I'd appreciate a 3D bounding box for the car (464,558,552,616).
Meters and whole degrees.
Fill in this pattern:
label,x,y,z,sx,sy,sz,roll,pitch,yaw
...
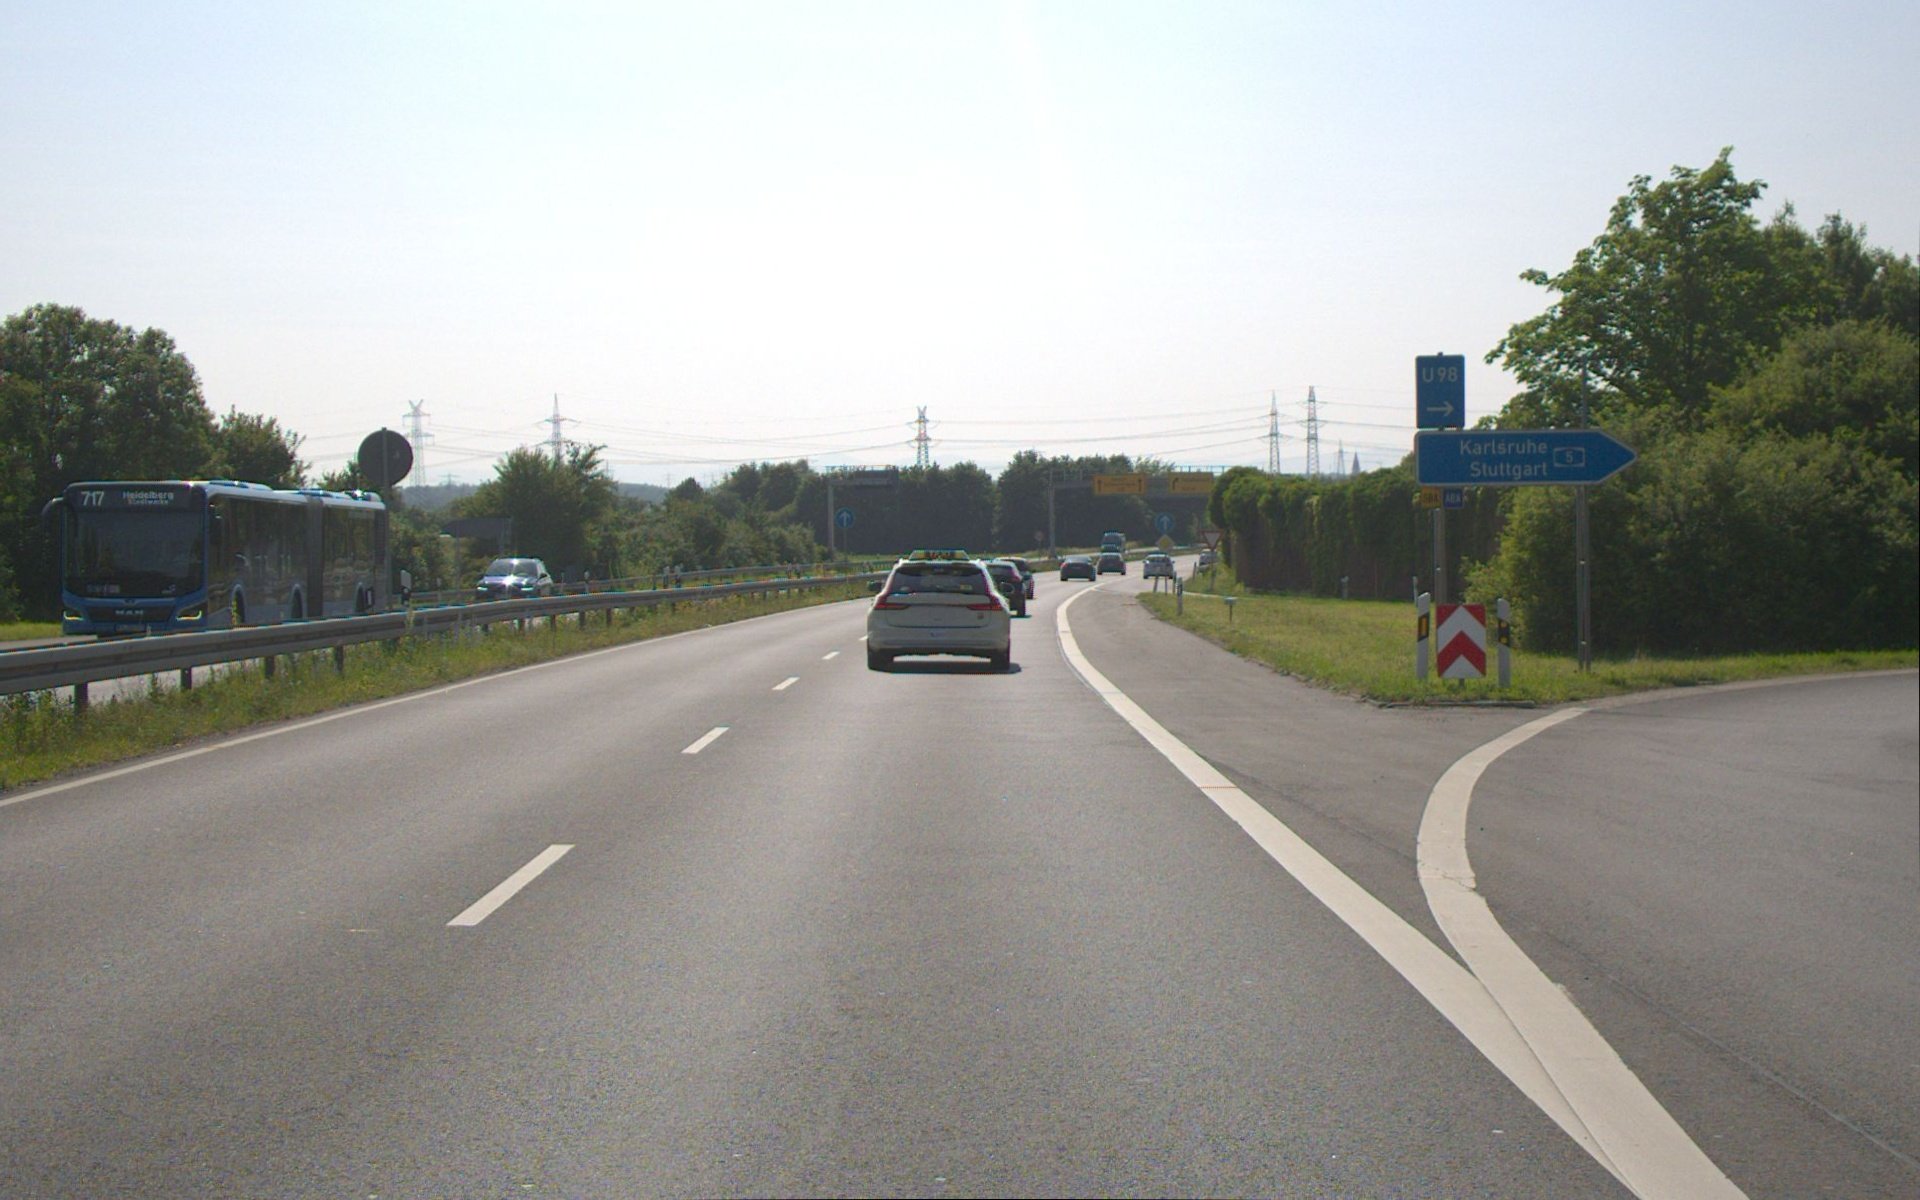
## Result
label,x,y,z,sx,sy,sz,roll,pitch,yaw
car,-13.553,-0.409,103.331,1.993,1.600,4.274,1,2,1

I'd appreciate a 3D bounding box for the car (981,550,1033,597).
label,x,y,z,sx,sy,sz,roll,pitch,yaw
car,1.771,-0.995,128.489,1.769,1.731,3.631,0,1,3

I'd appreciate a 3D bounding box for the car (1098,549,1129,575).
label,x,y,z,sx,sy,sz,roll,pitch,yaw
car,10.271,-2.558,229.804,1.841,1.692,4.000,0,1,0

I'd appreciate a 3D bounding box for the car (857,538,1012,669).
label,x,y,z,sx,sy,sz,roll,pitch,yaw
car,-0.346,0.009,45.943,1.958,1.596,4.107,1,2,-1

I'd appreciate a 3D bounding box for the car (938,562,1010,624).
label,x,y,z,sx,sy,sz,roll,pitch,yaw
car,0.380,-0.196,88.762,1.793,1.538,3.672,0,1,1

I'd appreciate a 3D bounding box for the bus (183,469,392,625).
label,x,y,z,sx,sy,sz,roll,pitch,yaw
bus,-14.171,-1.139,73.076,2.725,3.099,8.394,-1,1,0

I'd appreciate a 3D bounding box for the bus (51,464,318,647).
label,x,y,z,sx,sy,sz,roll,pitch,yaw
bus,-14.243,-0.852,63.990,2.725,3.099,9.836,-1,1,0

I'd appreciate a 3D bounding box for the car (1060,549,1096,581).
label,x,y,z,sx,sy,sz,roll,pitch,yaw
car,6.698,-1.974,194.587,1.841,1.796,4.000,0,1,4
